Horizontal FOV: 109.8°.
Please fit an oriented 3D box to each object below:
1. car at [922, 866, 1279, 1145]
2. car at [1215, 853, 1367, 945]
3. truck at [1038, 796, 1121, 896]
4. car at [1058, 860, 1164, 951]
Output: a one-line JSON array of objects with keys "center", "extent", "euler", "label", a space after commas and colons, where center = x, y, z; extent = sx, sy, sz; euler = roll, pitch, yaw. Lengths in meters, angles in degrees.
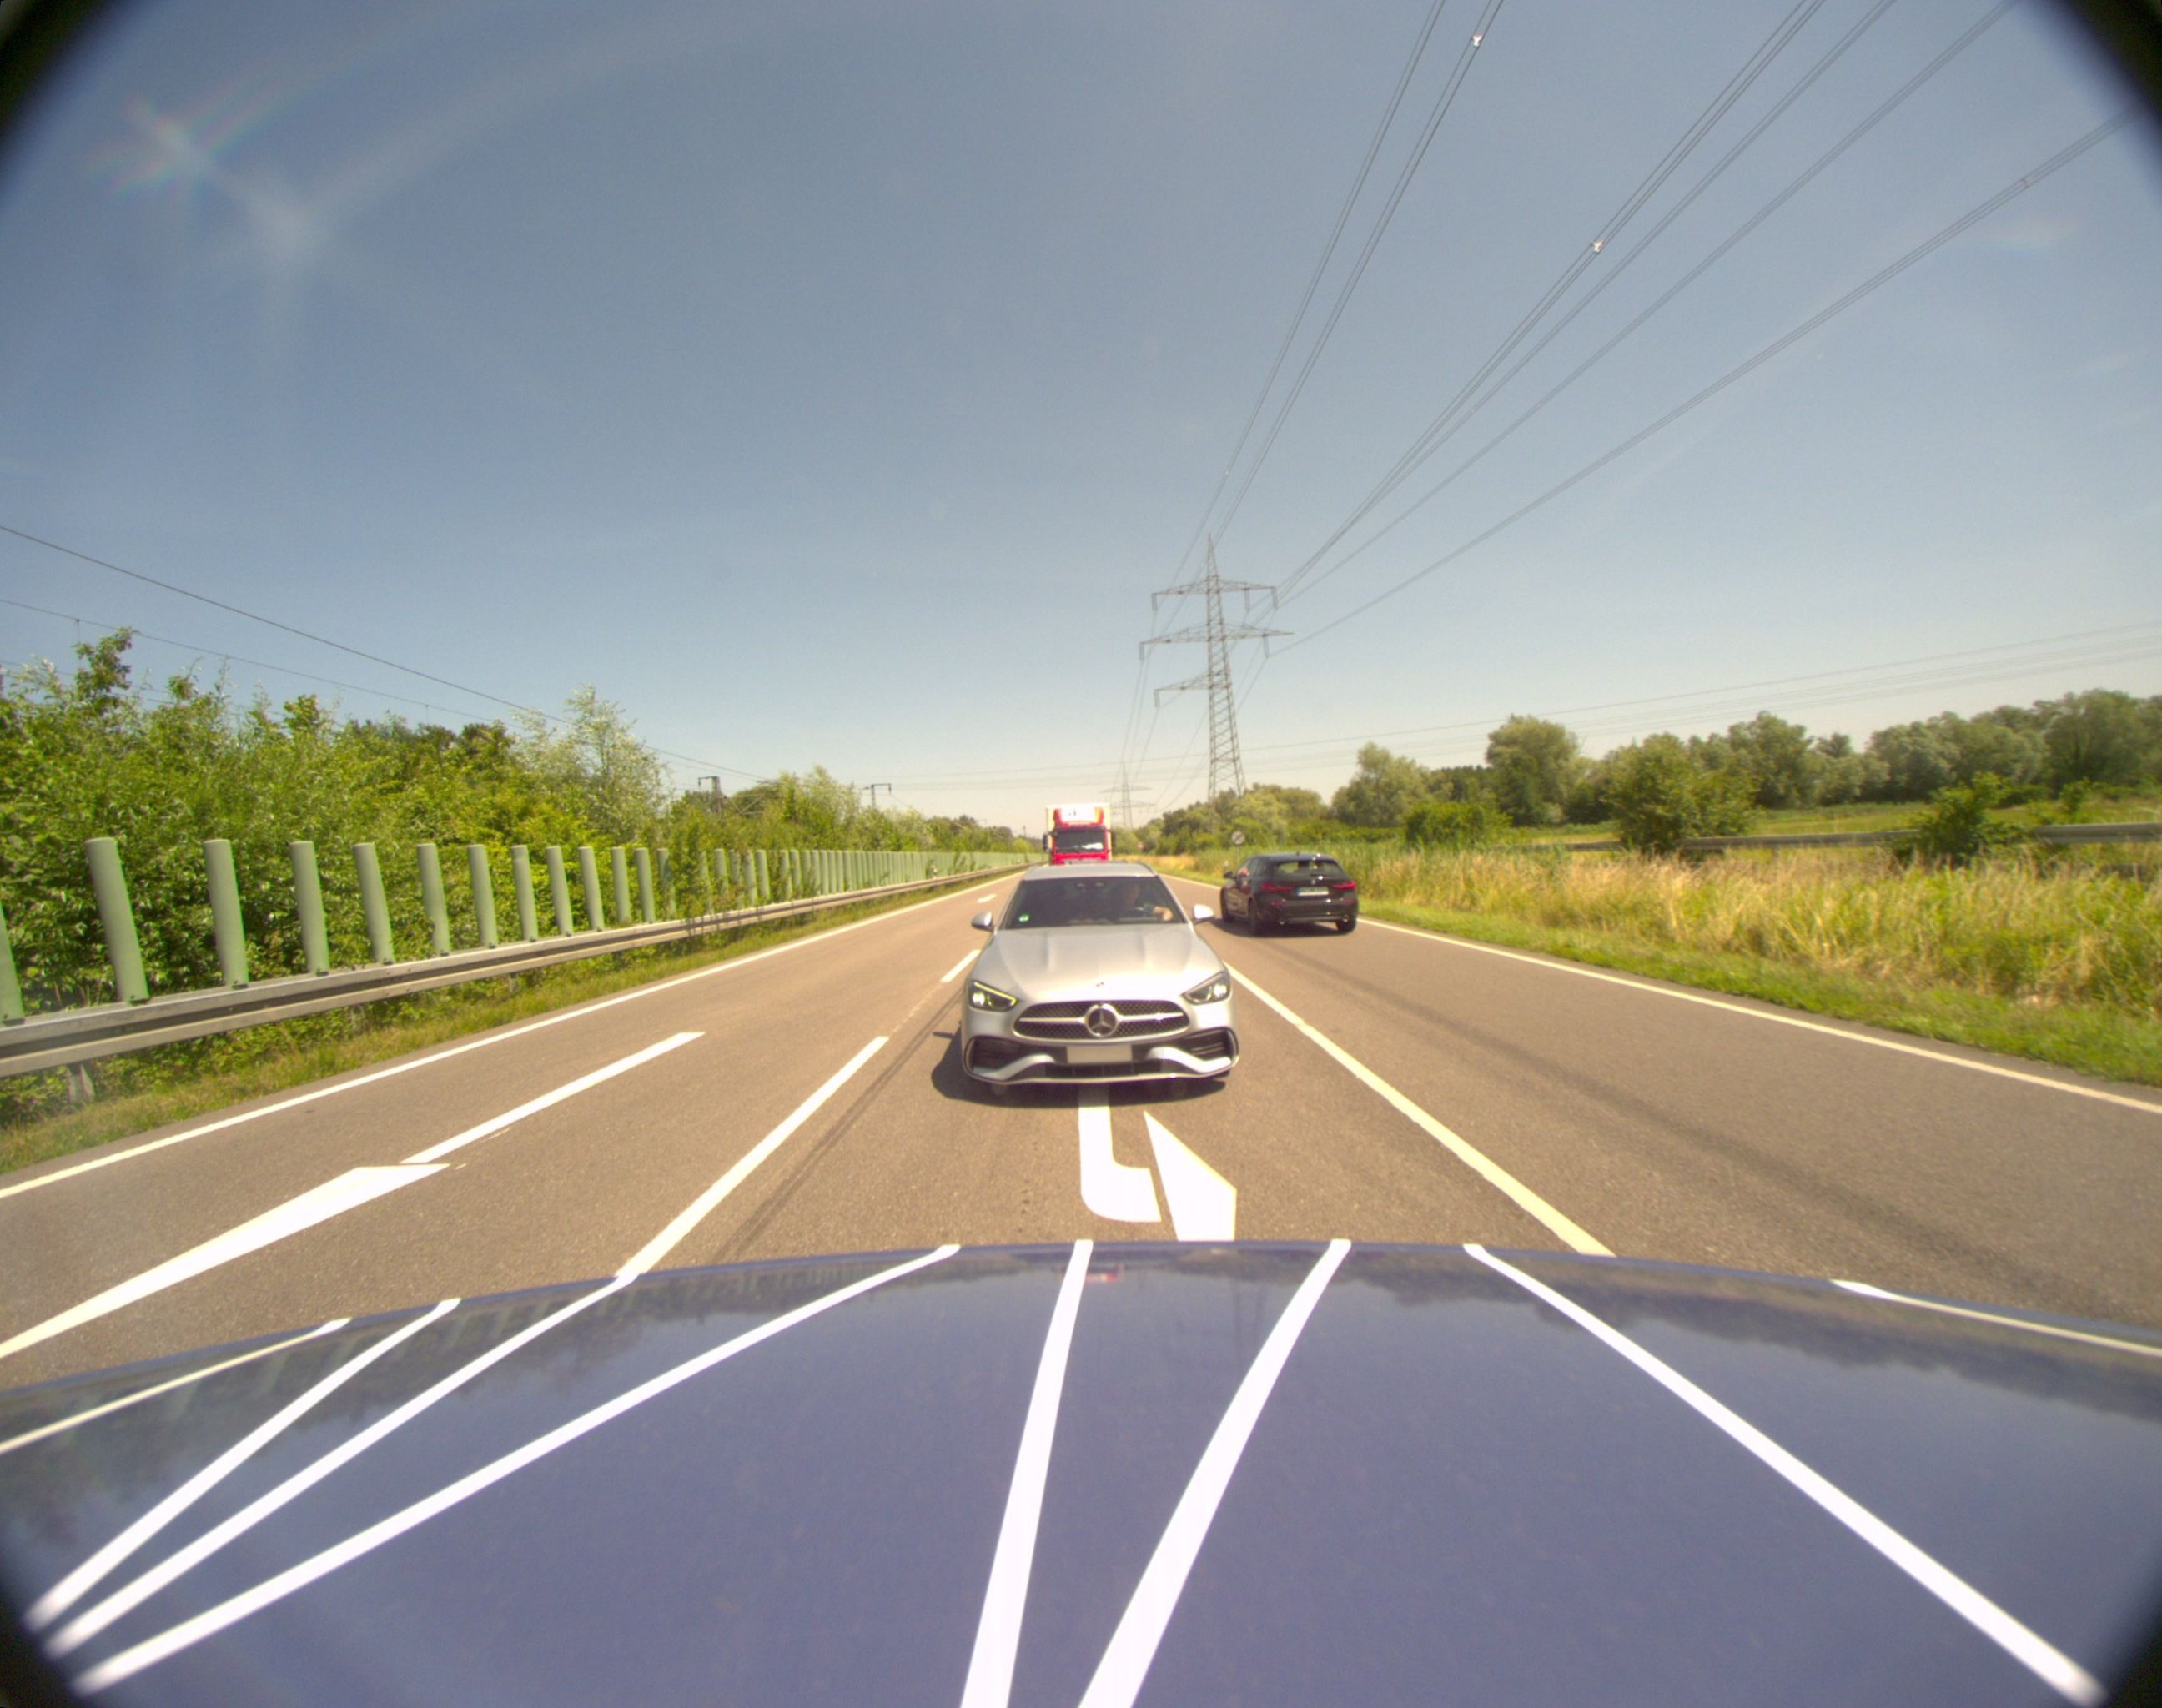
[{"center": [0.125, 0.905, 6.581], "extent": [1.998, 1.437, 4.467], "euler": [-2, 1, 0], "label": "car"}, {"center": [3.835, 0.747, 14.587], "extent": [1.786, 1.455, 4.000], "euler": [-2, 0, 0], "label": "car"}, {"center": [-0.056, -0.322, 32.649], "extent": [2.907, 3.641, 7.155], "euler": [-4, 0, 0], "label": "truck"}, {"center": [0.537, 0.863, 14.764], "extent": [1.698, 1.385, 4.467], "euler": [-2, 0, 1], "label": "car"}]
